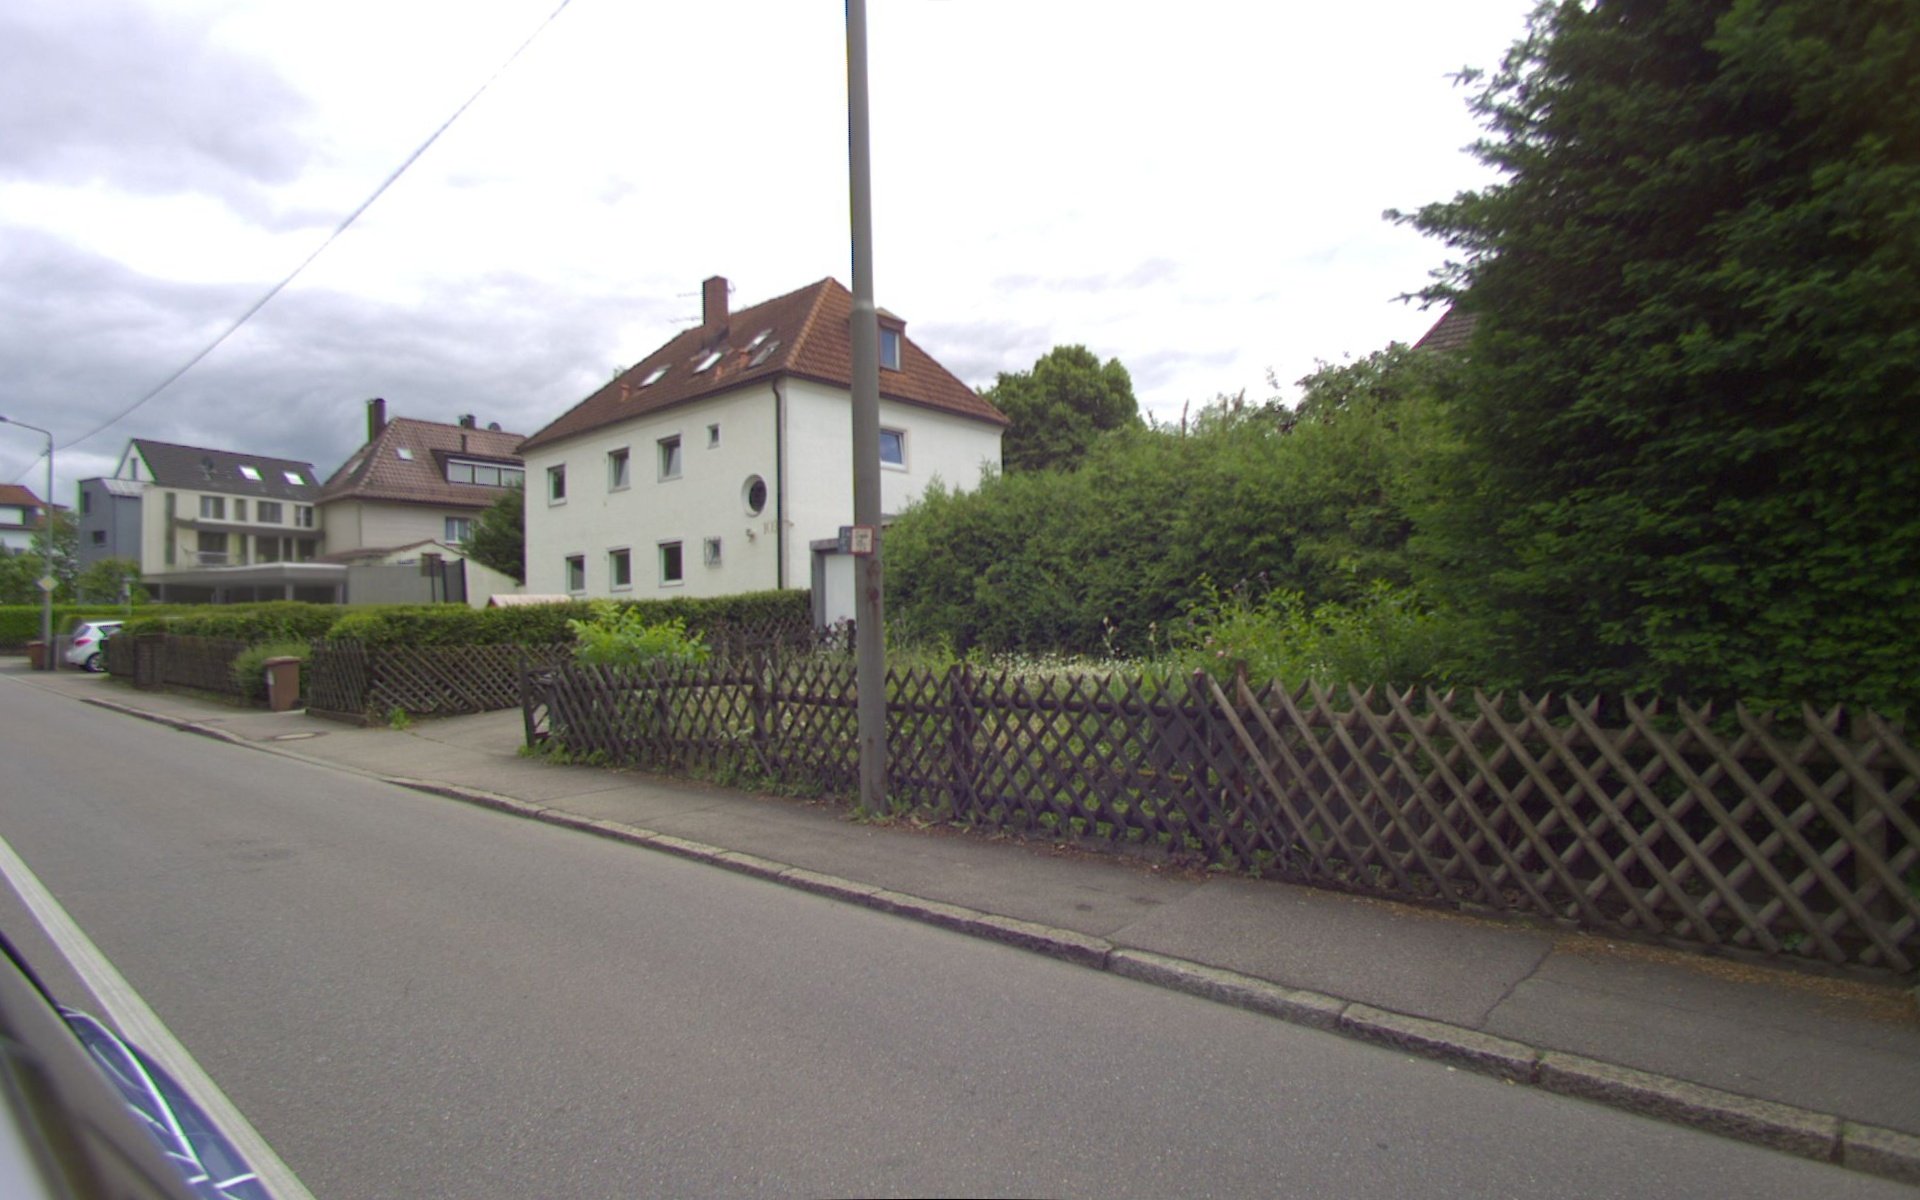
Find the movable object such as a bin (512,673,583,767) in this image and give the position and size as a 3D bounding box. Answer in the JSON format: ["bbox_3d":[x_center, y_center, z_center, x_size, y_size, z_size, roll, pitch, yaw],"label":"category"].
[{"bbox_3d":[-4.450,1.278,10.923,0.537,0.945,0.544,-2,-2,43],"label":"movable object such as a bin"}]

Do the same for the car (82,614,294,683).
[{"bbox_3d":[-22.559,1.362,29.728,1.881,1.682,4.624,-1,1,39],"label":"car"}]

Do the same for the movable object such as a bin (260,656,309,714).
[{"bbox_3d":[-11.518,1.438,17.252,0.625,0.920,0.561,-1,-1,-39],"label":"movable object such as a bin"}]

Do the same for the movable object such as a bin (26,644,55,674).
[{"bbox_3d":[-30.446,1.949,33.502,0.572,0.961,0.680,-2,-2,44],"label":"movable object such as a bin"}]

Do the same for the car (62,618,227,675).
[{"bbox_3d":[-26.771,1.479,33.319,1.717,1.606,3.946,-1,1,41],"label":"car"}]
